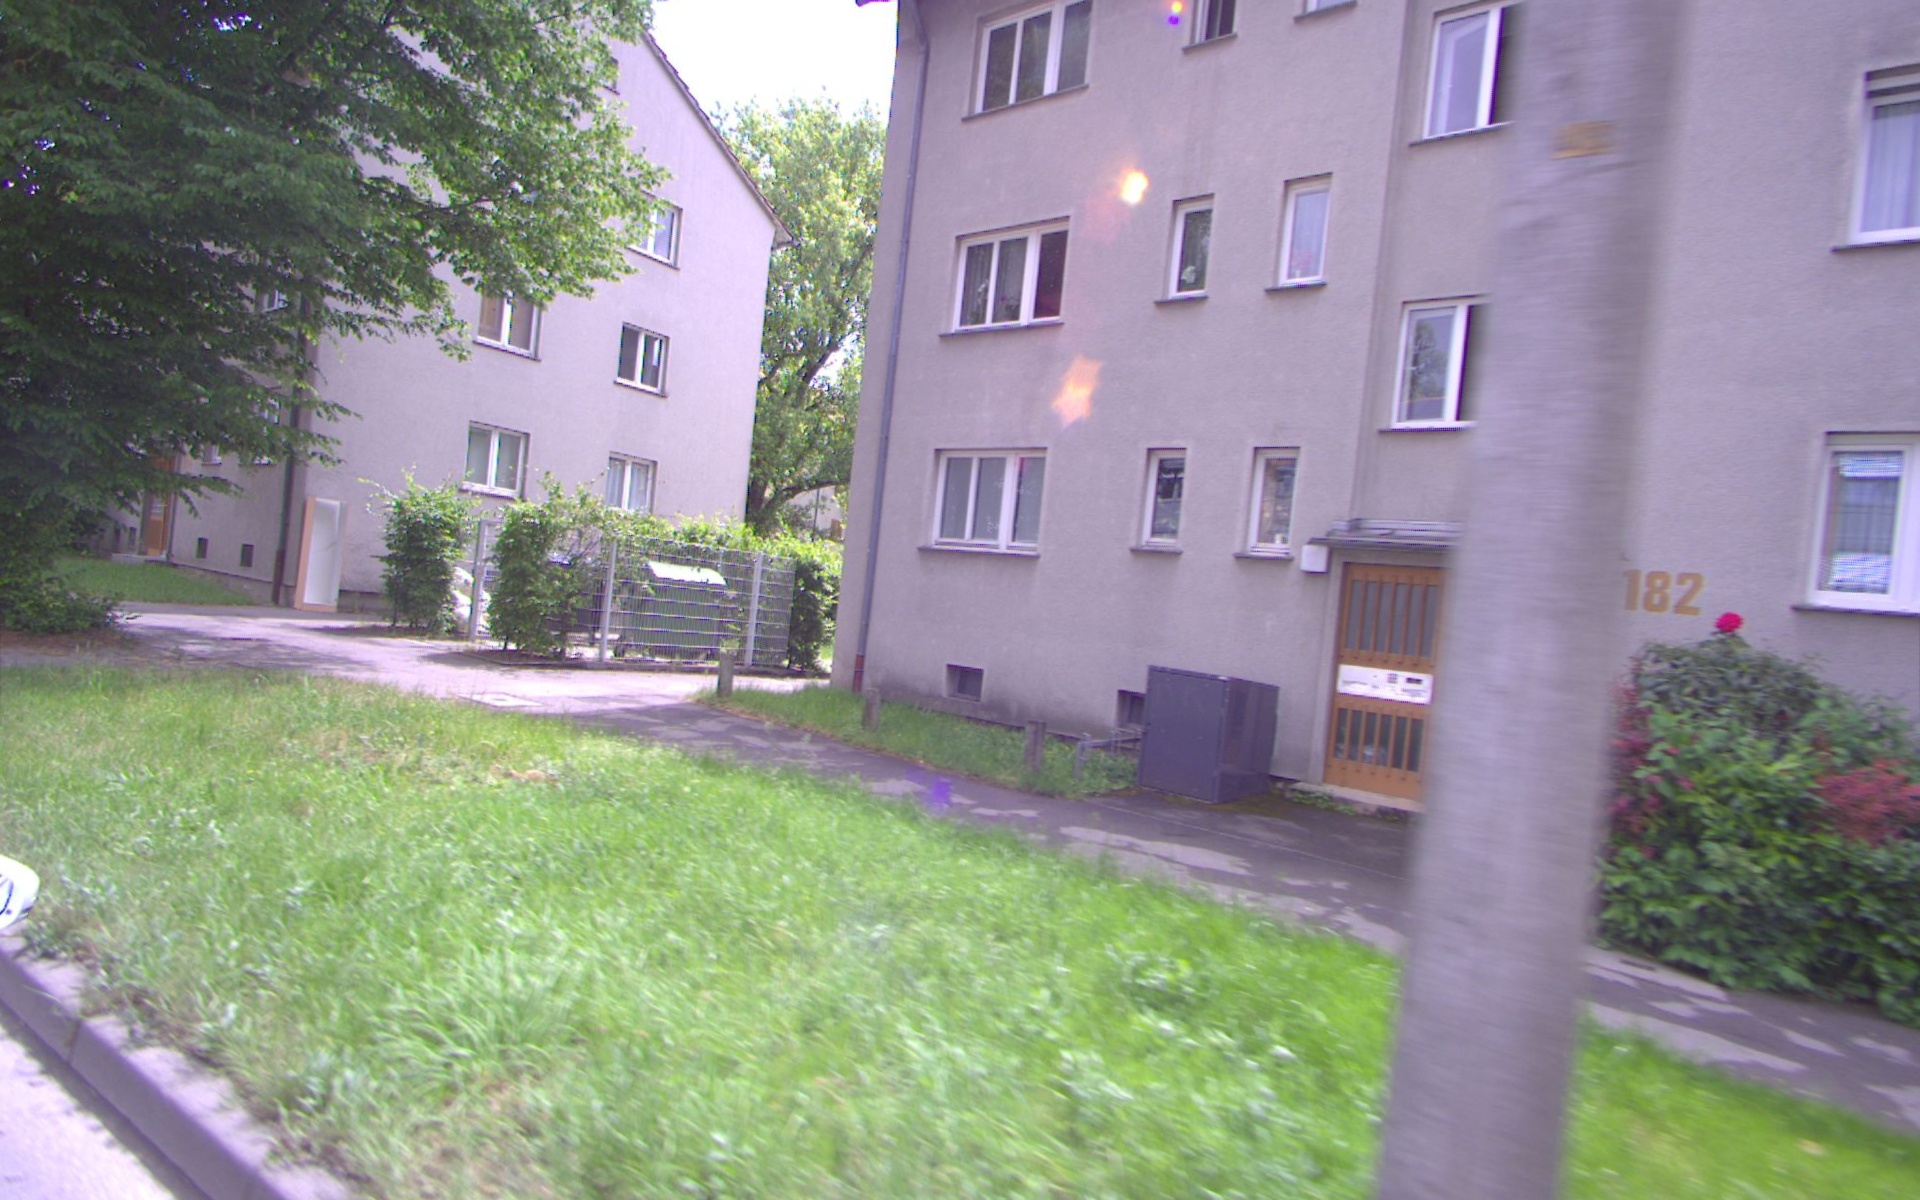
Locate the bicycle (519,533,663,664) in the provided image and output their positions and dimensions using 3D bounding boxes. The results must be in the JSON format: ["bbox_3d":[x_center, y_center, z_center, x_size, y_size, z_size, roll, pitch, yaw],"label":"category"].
[{"bbox_3d":[-5.008,-0.005,13.706,1.054,1.594,1.348,7,1,34],"label":"bicycle"}]
